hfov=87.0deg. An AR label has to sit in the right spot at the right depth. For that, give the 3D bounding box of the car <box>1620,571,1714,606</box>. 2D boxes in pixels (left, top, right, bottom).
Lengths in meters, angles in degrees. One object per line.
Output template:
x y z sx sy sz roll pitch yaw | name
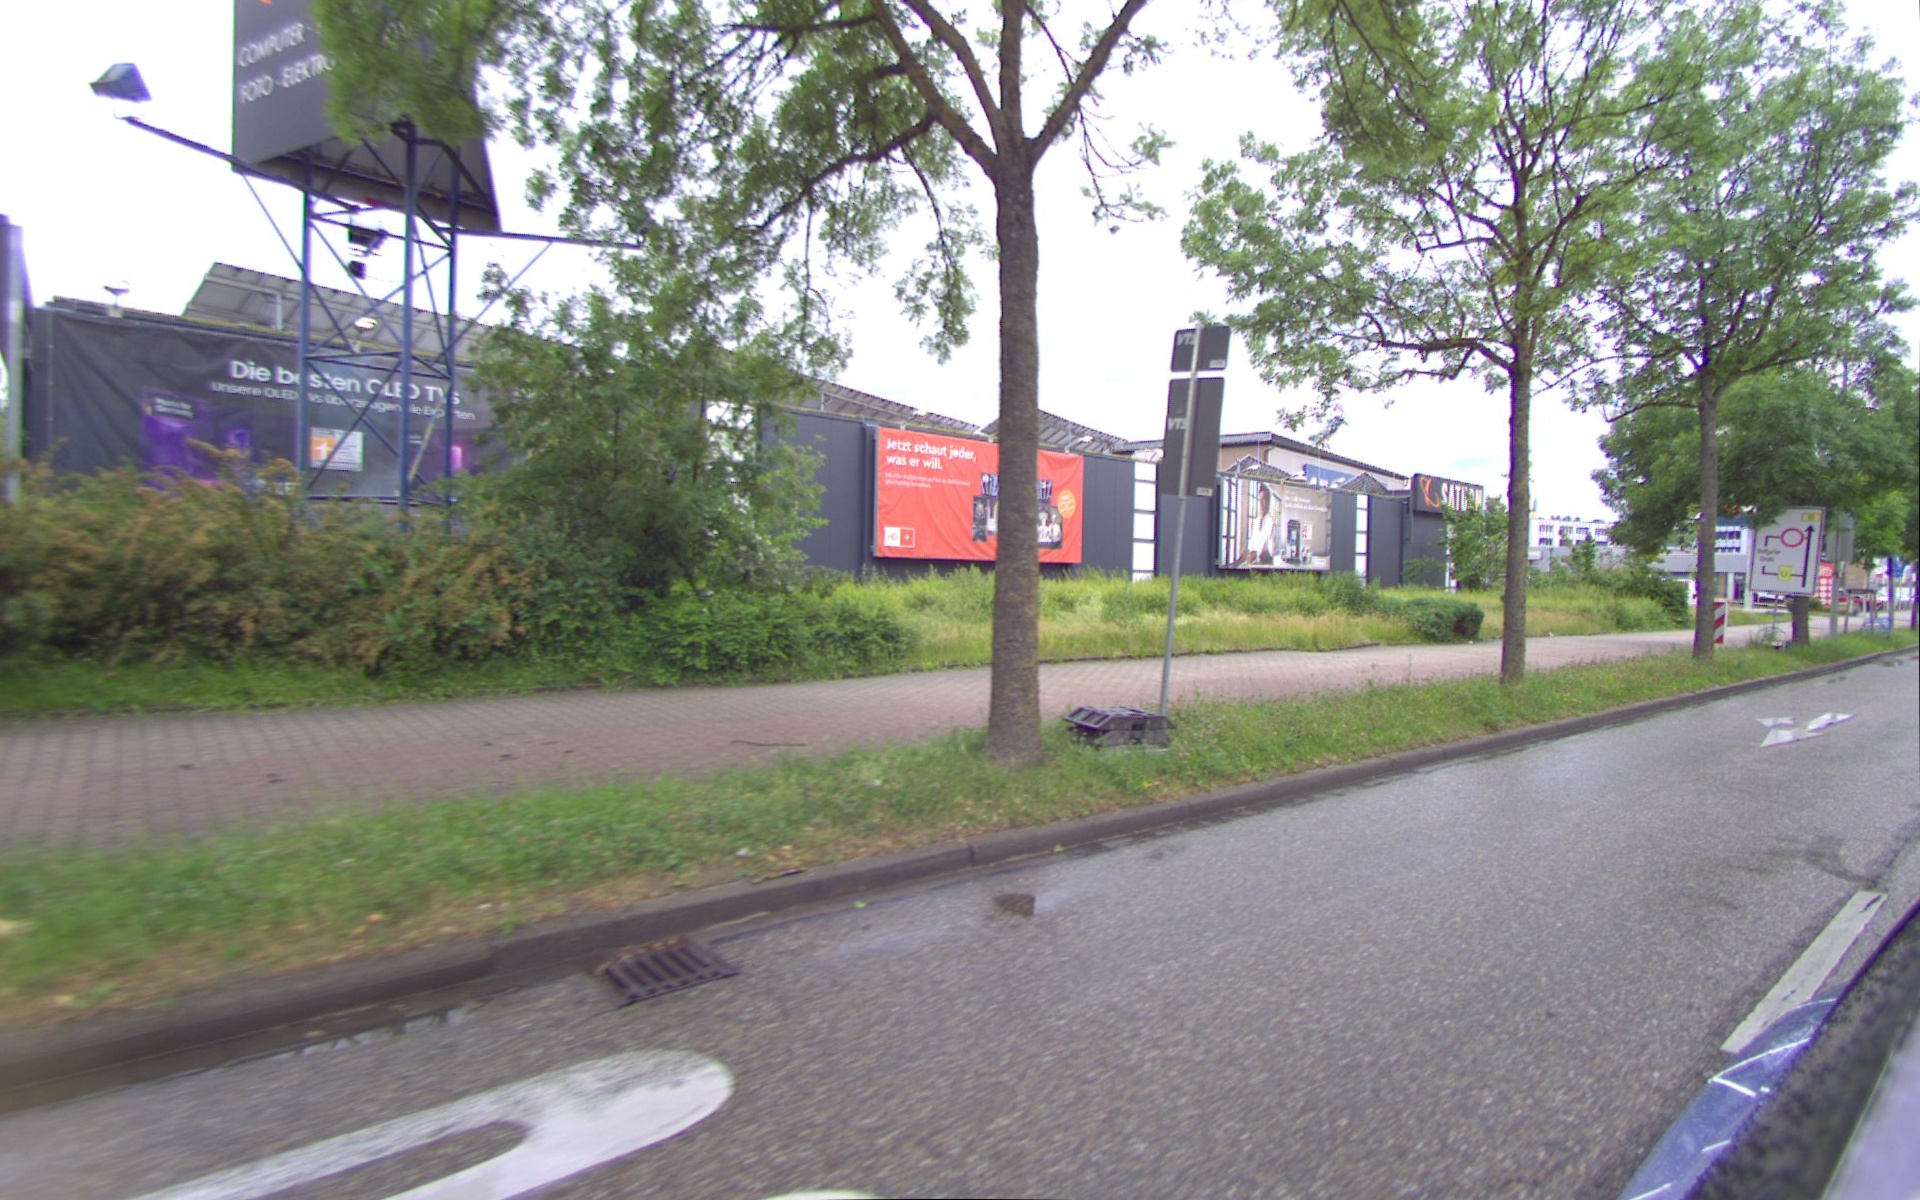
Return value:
46.615 -0.780 66.782 4.939 2.038 1.973 4 3 38 | car
